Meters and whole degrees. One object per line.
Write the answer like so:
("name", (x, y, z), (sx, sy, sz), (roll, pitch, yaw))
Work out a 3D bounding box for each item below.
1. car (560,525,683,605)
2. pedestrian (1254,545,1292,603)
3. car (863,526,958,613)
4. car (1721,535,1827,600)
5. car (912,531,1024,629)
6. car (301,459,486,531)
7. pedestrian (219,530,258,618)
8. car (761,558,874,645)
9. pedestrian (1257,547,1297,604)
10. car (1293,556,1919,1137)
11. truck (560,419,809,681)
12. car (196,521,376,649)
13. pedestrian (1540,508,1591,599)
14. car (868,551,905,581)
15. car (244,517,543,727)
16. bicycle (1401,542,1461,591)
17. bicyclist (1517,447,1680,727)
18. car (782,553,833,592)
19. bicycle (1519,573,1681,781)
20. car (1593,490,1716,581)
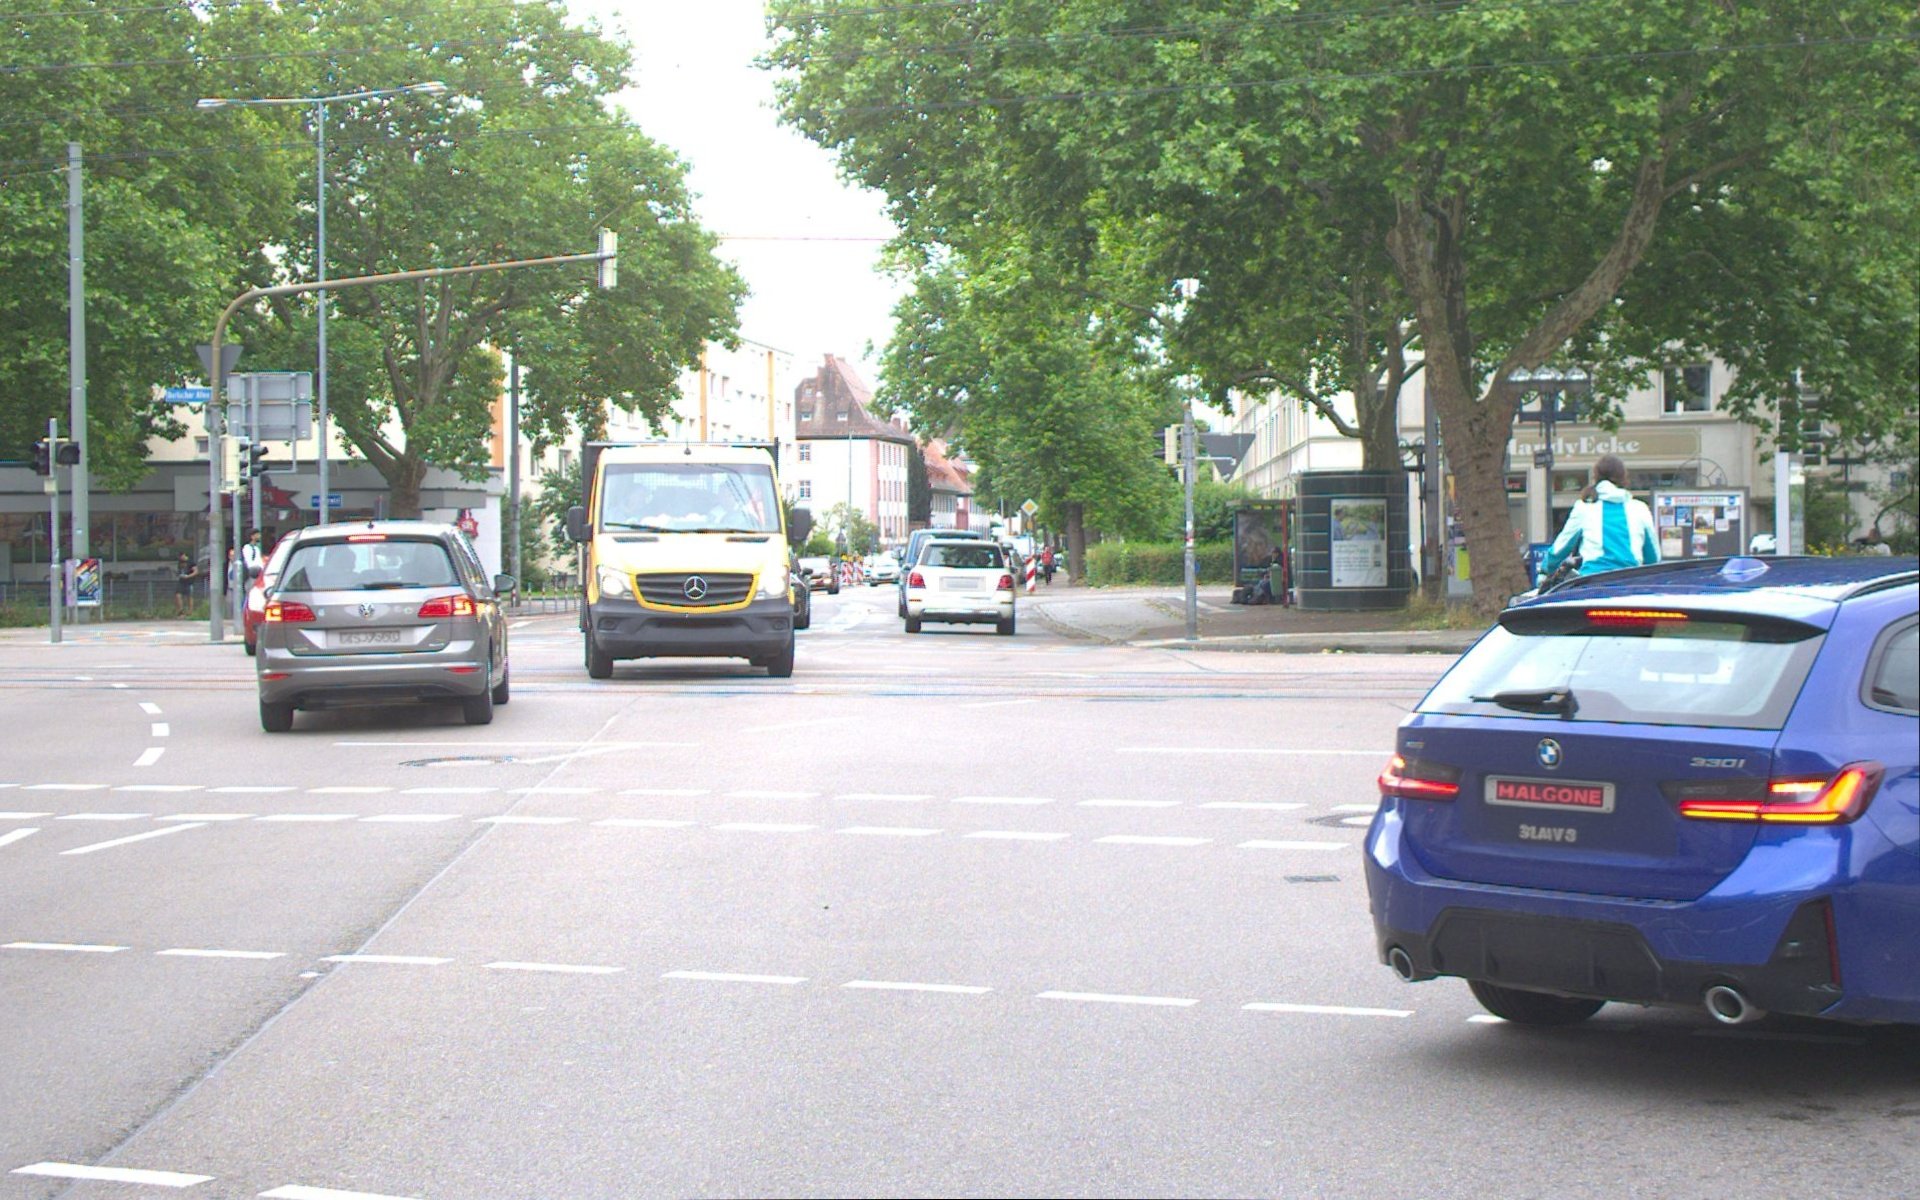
("car", (-8.027, -0.872, 81.930), (1.867, 1.820, 5.225), (-1, 1, 6))
("pedestrian", (7.462, -0.623, 81.882), (0.817, 1.367, 0.763), (-1, 1, 0))
("car", (-1.125, -0.687, 75.866), (1.993, 1.842, 4.001), (-1, 1, -2))
("car", (20.066, -0.814, 84.656), (1.798, 1.538, 3.822), (0, 1, 25))
("car", (0.116, -0.363, 58.362), (1.815, 1.586, 4.000), (-1, 1, -1))
("car", (-13.819, -2.545, 83.871), (3.986, 1.700, 2.000), (0, 0, -29))
("pedestrian", (-14.777, -0.535, 70.394), (0.574, 1.779, 0.620), (-1, 1, 8))
("car", (-2.448, -0.003, 59.866), (1.809, 1.422, 4.317), (-1, 1, 0))
("pedestrian", (7.471, -0.584, 81.028), (0.853, 1.310, 0.763), (-1, 1, 0))
("car", (3.179, 0.578, 10.640), (4.308, 1.400, 1.820), (-2, 1, -42))
("truck", (-2.885, -0.523, 34.885), (2.074, 2.400, 5.464), (-2, 1, -9))
("car", (-8.503, -0.223, 43.659), (1.732, 1.519, 4.001), (-1, 1, -4))
("pedestrian", (11.737, -0.900, 66.645), (0.784, 1.737, 0.925), (-1, 1, -2))
("car", (-3.779, -1.754, 176.889), (1.767, 1.481, 4.000), (-1, 1, 0))
("car", (-4.404, 0.121, 27.262), (1.732, 1.519, 4.000), (-1, 1, -1))
("bicycle", (11.399, -0.818, 83.109), (0.779, 1.164, 2.330), (-1, 1, 25))
("bicyclist", (3.557, -0.082, 19.220), (0.686, 1.512, 1.058), (-1, 1, -1))
("car", (-6.019, -1.096, 136.018), (1.853, 1.448, 4.167), (-1, 1, 0))
("bicycle", (3.641, 0.411, 19.686), (0.494, 1.094, 2.139), (-1, 1, -1))
("car", (17.352, -1.607, 85.775), (2.177, 2.193, 3.995), (0, 1, 24))
